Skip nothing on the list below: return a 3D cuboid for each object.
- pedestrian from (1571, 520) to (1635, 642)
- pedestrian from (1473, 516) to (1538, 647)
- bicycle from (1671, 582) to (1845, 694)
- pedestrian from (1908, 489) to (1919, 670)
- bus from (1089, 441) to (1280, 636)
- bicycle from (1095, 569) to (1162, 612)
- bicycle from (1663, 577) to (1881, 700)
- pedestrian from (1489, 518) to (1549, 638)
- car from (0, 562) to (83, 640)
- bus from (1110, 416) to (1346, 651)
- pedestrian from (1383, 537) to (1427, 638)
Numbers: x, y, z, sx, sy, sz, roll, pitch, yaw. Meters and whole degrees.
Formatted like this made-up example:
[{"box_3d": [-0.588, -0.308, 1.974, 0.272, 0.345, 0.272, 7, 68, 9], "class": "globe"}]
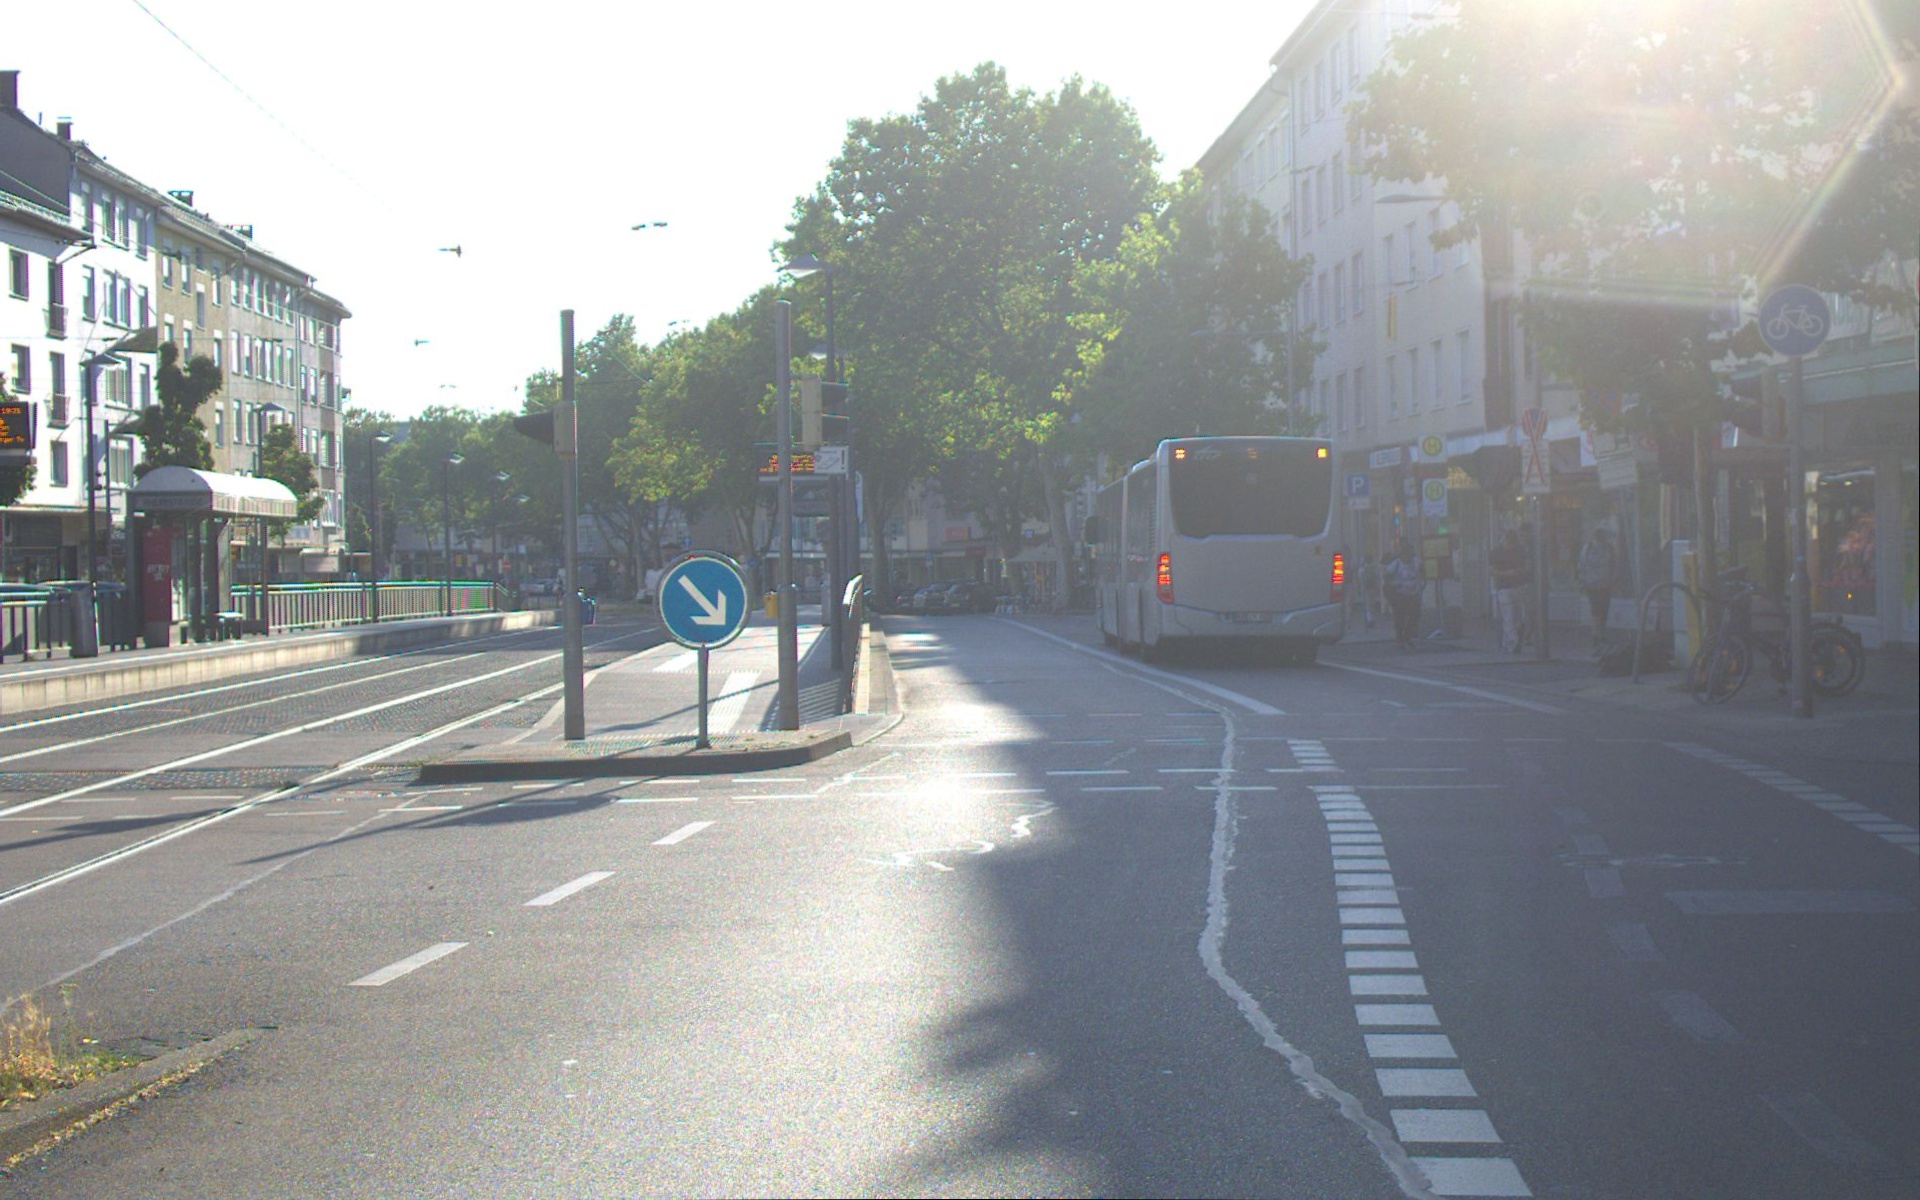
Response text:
[{"box_3d": [9.259, -0.275, 49.535, 0.723, 1.717, 0.766, -1, 0, -1], "class": "pedestrian"}, {"box_3d": [7.578, -0.258, 47.767, 0.723, 1.800, 0.766, -1, 0, -1], "class": "pedestrian"}, {"box_3d": [7.396, 0.348, 31.880, 1.482, 1.005, 0.454, -1, 1, -4], "class": "bicycle"}, {"box_3d": [9.791, -0.212, 33.552, 0.743, 1.774, 0.895, -2, 0, -1], "class": "pedestrian"}, {"box_3d": [3.747, -1.039, 59.405, 2.696, 3.107, 9.070, 0, 1, 0], "class": "bus"}, {"box_3d": [4.945, -0.283, 100.947, 1.887, 1.073, 0.754, -5, 1, 2], "class": "bicycle"}, {"box_3d": [7.362, 0.342, 31.201, 1.798, 1.005, 0.541, -3, 1, -4], "class": "bicycle"}, {"box_3d": [8.356, -0.329, 51.407, 0.723, 1.773, 0.766, -1, 0, -1], "class": "pedestrian"}, {"box_3d": [-21.807, 0.029, 77.758, 1.768, 1.674, 3.504, 0, 2, 34], "class": "car"}, {"box_3d": [3.758, -0.932, 50.220, 2.696, 3.107, 9.382, 0, 1, 0], "class": "bus"}, {"box_3d": [6.989, -0.199, 53.988, 0.610, 1.573, 0.851, -1, 1, 3], "class": "pedestrian"}]
